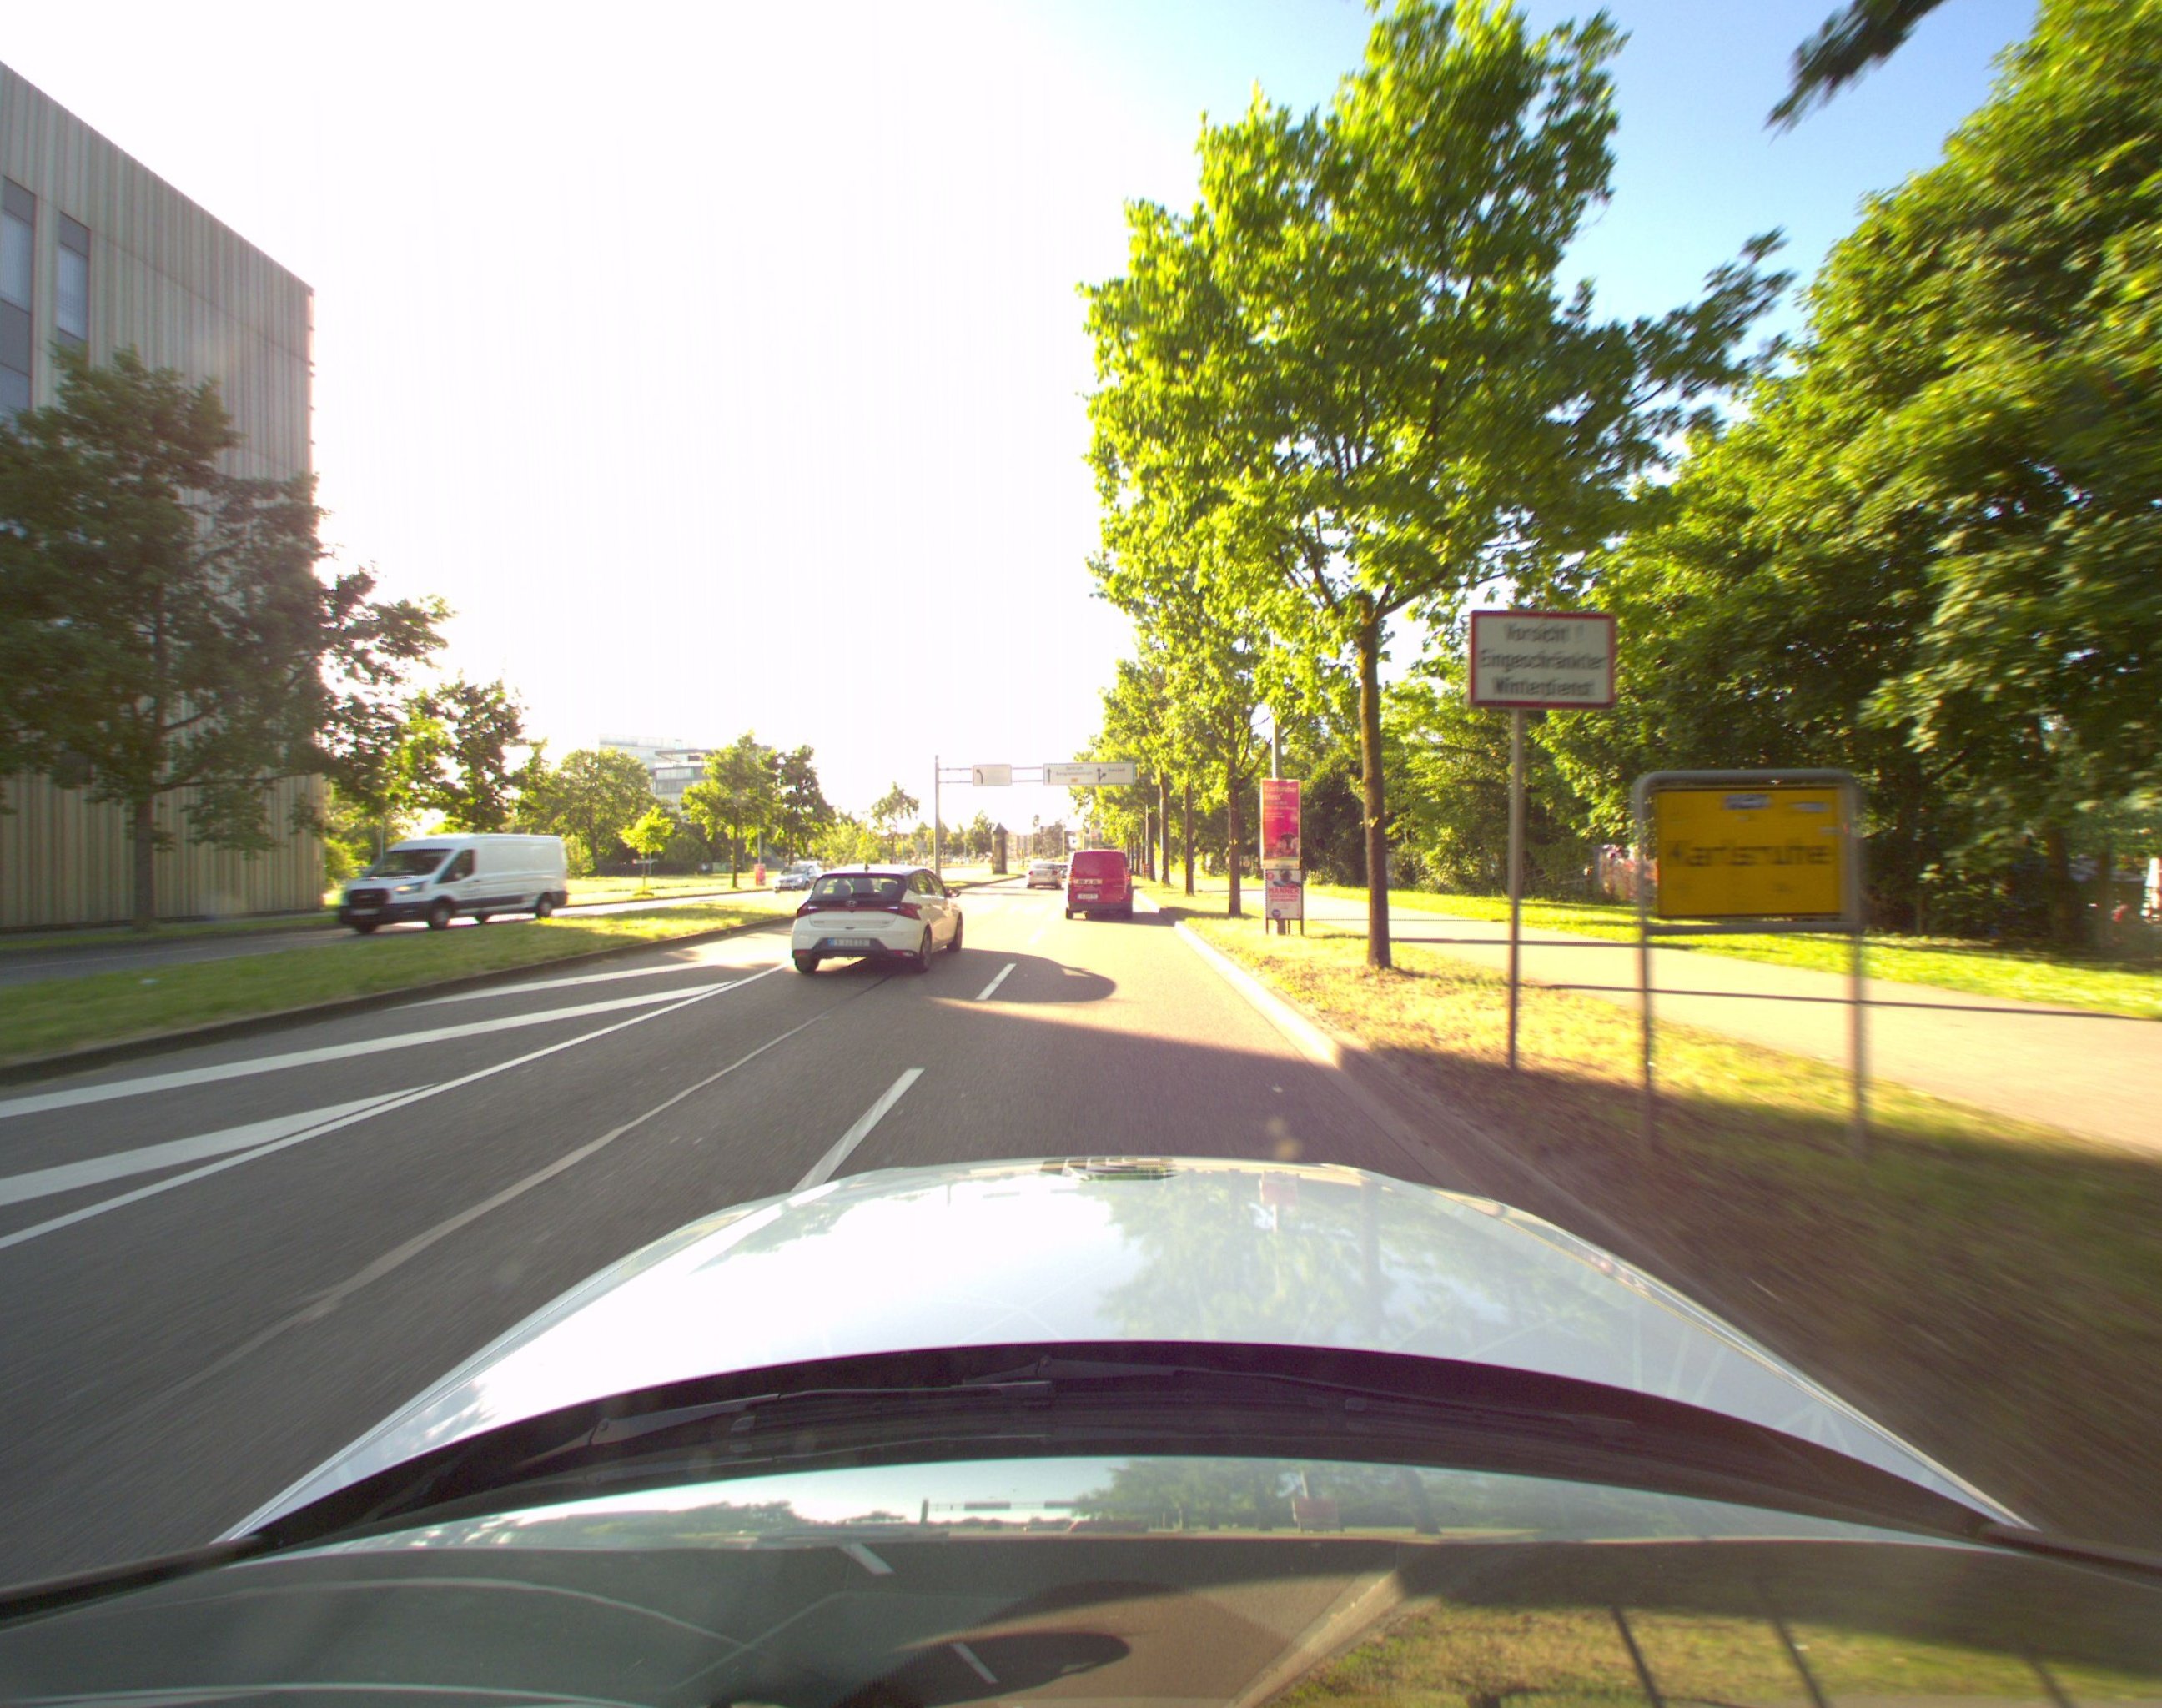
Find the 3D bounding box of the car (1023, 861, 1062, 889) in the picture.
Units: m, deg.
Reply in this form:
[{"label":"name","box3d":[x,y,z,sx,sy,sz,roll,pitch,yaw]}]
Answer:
[{"label":"car","box3d":[-2.049,1.100,44.406,1.834,1.456,4.163,0,0,1]}]

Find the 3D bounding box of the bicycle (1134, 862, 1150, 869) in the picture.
[{"label":"bicycle","box3d":[8.670,1.620,115.488,2.133,0.958,0.781,-1,-1,-31]}]

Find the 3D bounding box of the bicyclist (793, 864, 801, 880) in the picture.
[{"label":"bicyclist","box3d":[-26.099,1.643,74.824,0.480,1.395,0.844,-1,-1,0]}]

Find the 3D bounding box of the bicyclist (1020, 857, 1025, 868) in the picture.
[{"label":"bicyclist","box3d":[-8.100,1.191,113.197,0.601,1.468,0.517,-1,-1,0]}]

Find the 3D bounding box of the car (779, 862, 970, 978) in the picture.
[{"label":"car","box3d":[-2.883,0.855,12.305,1.772,1.409,4.075,0,0,1]}]

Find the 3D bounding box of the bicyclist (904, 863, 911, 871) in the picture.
[{"label":"bicyclist","box3d":[-24.209,1.832,113.516,0.729,1.107,0.607,-1,-1,14]}]

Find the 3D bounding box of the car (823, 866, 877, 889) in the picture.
[{"label":"car","box3d":[-12.826,1.279,45.508,1.822,1.111,4.173,-1,0,-1]}]

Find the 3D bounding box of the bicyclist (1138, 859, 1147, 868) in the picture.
[{"label":"bicyclist","box3d":[8.709,1.283,115.522,0.975,1.249,0.781,0,-1,-31]}]

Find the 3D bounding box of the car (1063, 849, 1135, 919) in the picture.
[{"label":"car","box3d":[0.490,0.756,22.324,1.800,1.759,4.006,0,0,1]}]

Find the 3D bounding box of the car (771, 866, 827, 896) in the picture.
[{"label":"car","box3d":[-15.444,1.453,44.865,1.683,1.476,4.048,-1,0,-1]}]

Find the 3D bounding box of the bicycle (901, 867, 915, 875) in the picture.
[{"label":"bicycle","box3d":[-24.129,2.349,113.488,1.714,1.107,0.607,-1,-1,13]}]

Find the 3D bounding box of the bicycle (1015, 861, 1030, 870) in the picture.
[{"label":"bicycle","box3d":[-8.128,1.556,113.191,1.952,1.166,0.517,-1,-1,-1]}]

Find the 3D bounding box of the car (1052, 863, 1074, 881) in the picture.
[{"label":"car","box3d":[-1.420,1.474,66.650,1.655,1.398,3.559,-1,0,1]}]

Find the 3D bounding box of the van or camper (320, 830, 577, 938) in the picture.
[{"label":"van or camper","box3d":[-16.334,0.689,21.628,1.987,2.368,5.994,-2,0,1]}]
